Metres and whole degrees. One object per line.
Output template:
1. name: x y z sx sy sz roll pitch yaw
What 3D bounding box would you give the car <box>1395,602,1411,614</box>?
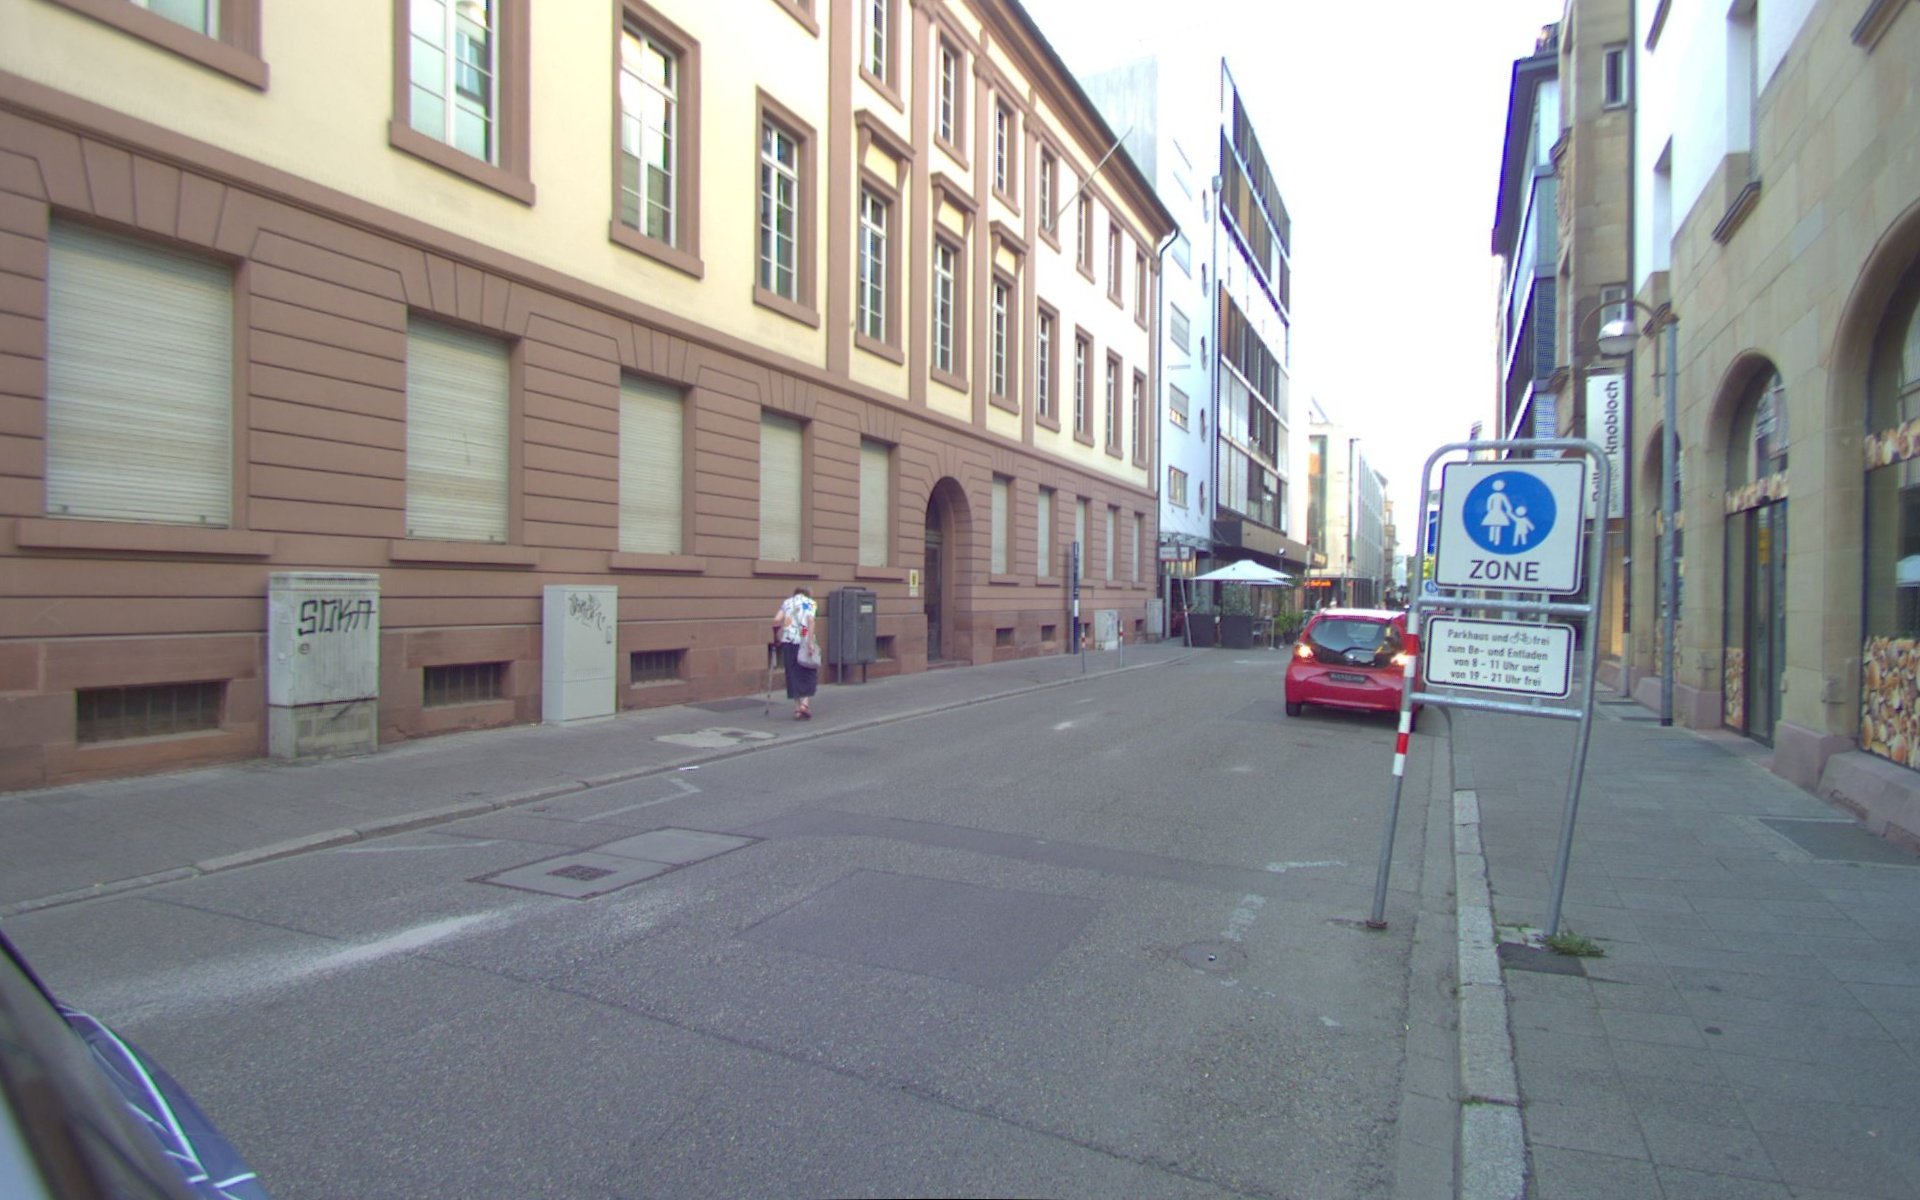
1. car: 48.967 0.908 111.792 1.419 1.310 3.532 -2 -1 26

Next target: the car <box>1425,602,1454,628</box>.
1. car: 27.104 0.840 57.197 1.419 1.428 3.861 -2 -1 26

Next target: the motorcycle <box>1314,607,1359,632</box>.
1. motorcycle: 20.109 1.046 54.035 2.185 1.292 0.645 0 0 29

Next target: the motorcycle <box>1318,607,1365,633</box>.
1. motorcycle: 19.713 1.028 52.318 2.185 1.292 0.645 0 0 29

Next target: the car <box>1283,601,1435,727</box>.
1. car: 5.566 0.778 13.930 1.630 1.452 3.128 2 1 27

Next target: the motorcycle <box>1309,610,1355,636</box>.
1. motorcycle: 18.975 1.145 51.638 2.185 1.292 0.645 0 0 29

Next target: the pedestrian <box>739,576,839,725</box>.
1. pedestrian: -2.018 0.572 12.023 0.807 1.684 0.923 0 -1 25

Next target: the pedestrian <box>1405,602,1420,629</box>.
1. pedestrian: 27.764 0.946 62.087 0.807 1.684 0.923 0 -1 25

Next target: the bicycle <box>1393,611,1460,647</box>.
1. bicycle: 15.317 0.956 33.253 1.945 1.139 0.614 -2 -1 28
